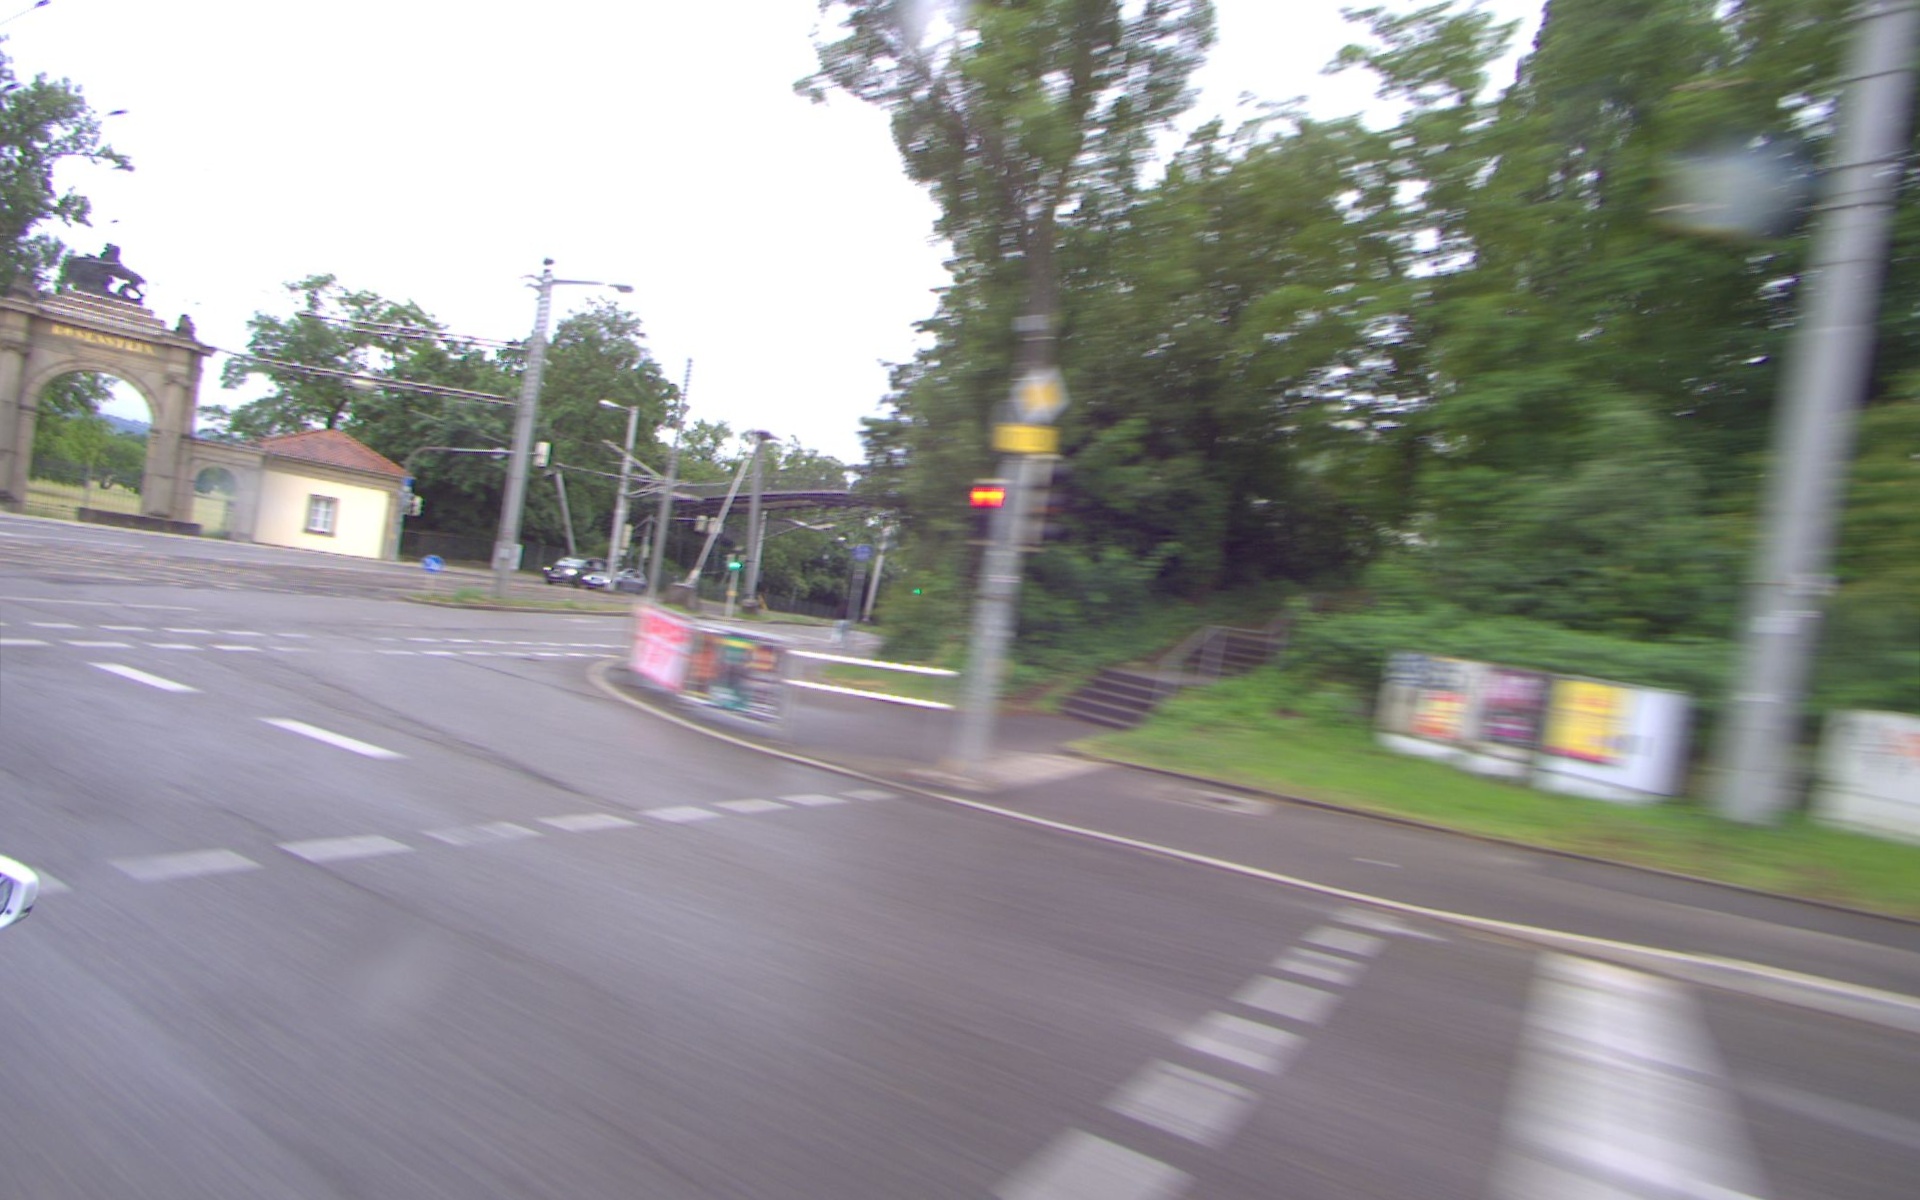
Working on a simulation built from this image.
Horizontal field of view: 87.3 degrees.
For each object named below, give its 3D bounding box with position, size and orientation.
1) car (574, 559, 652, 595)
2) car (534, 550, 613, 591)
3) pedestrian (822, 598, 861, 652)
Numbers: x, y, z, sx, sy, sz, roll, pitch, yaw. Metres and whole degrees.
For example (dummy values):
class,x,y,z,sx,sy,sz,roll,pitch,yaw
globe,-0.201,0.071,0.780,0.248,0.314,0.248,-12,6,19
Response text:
class,x,y,z,sx,sy,sz,roll,pitch,yaw
car,-18.450,-1.171,53.736,1.962,1.473,4.266,6,-1,10
car,-20.922,-1.563,54.649,1.962,1.755,4.266,6,-1,10
pedestrian,-3.819,0.811,32.430,0.795,1.573,0.655,10,1,16
